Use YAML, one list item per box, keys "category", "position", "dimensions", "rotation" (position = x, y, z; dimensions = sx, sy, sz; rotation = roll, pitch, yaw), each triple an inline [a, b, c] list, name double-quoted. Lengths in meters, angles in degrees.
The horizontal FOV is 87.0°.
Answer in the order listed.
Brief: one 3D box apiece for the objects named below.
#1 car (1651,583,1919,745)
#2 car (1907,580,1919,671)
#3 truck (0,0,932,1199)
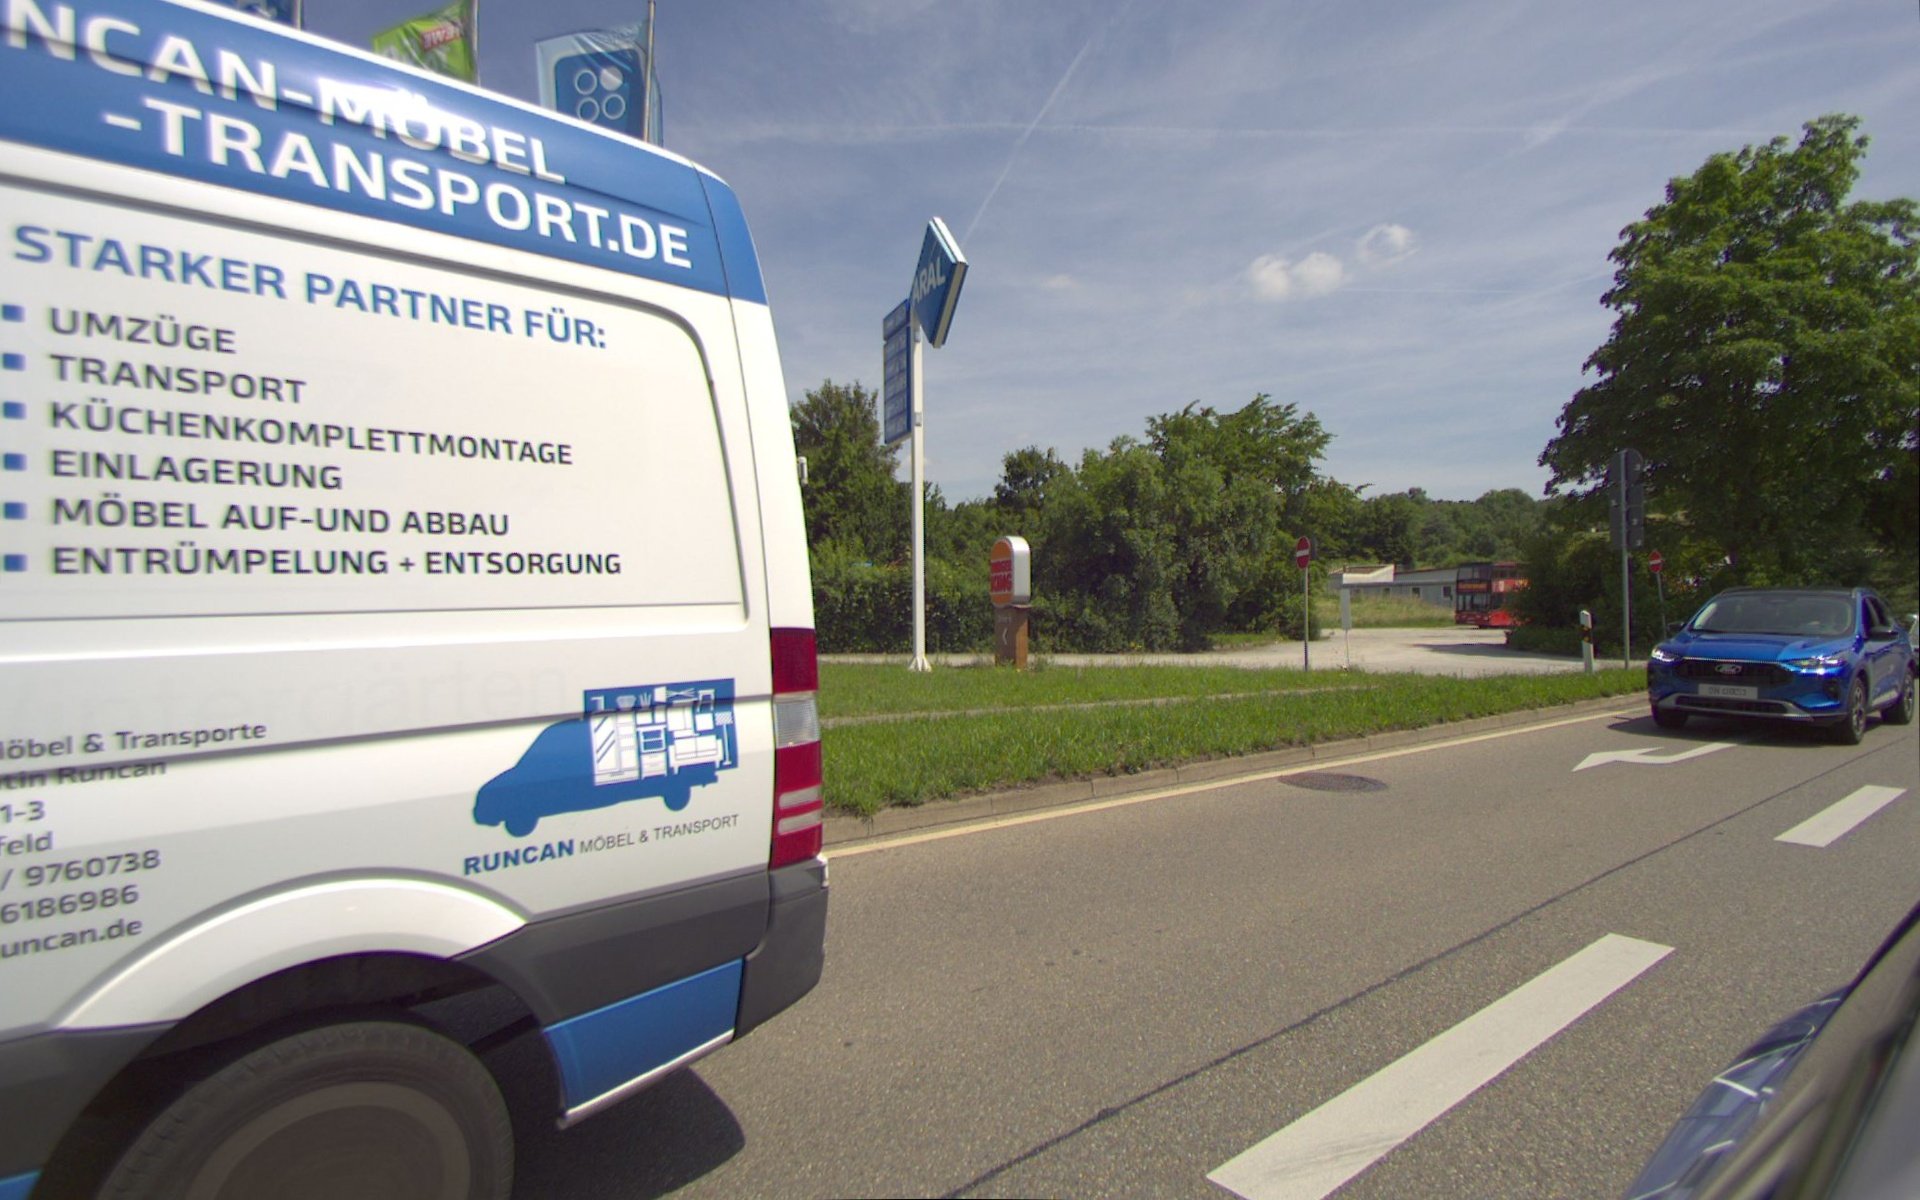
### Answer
- category: "car"
  position: [9.939, 0.597, 11.955]
  dimensions: [4.309, 1.578, 1.783]
  rotation: [-1, 1, -39]
- category: "car"
  position: [20.263, 0.476, 19.680]
  dimensions: [4.441, 1.713, 1.867]
  rotation: [0, 1, -35]
- category: "truck"
  position: [-2.950, 0.046, 1.504]
  dimensions: [5.838, 2.772, 2.070]
  rotation: [0, 0, -41]
